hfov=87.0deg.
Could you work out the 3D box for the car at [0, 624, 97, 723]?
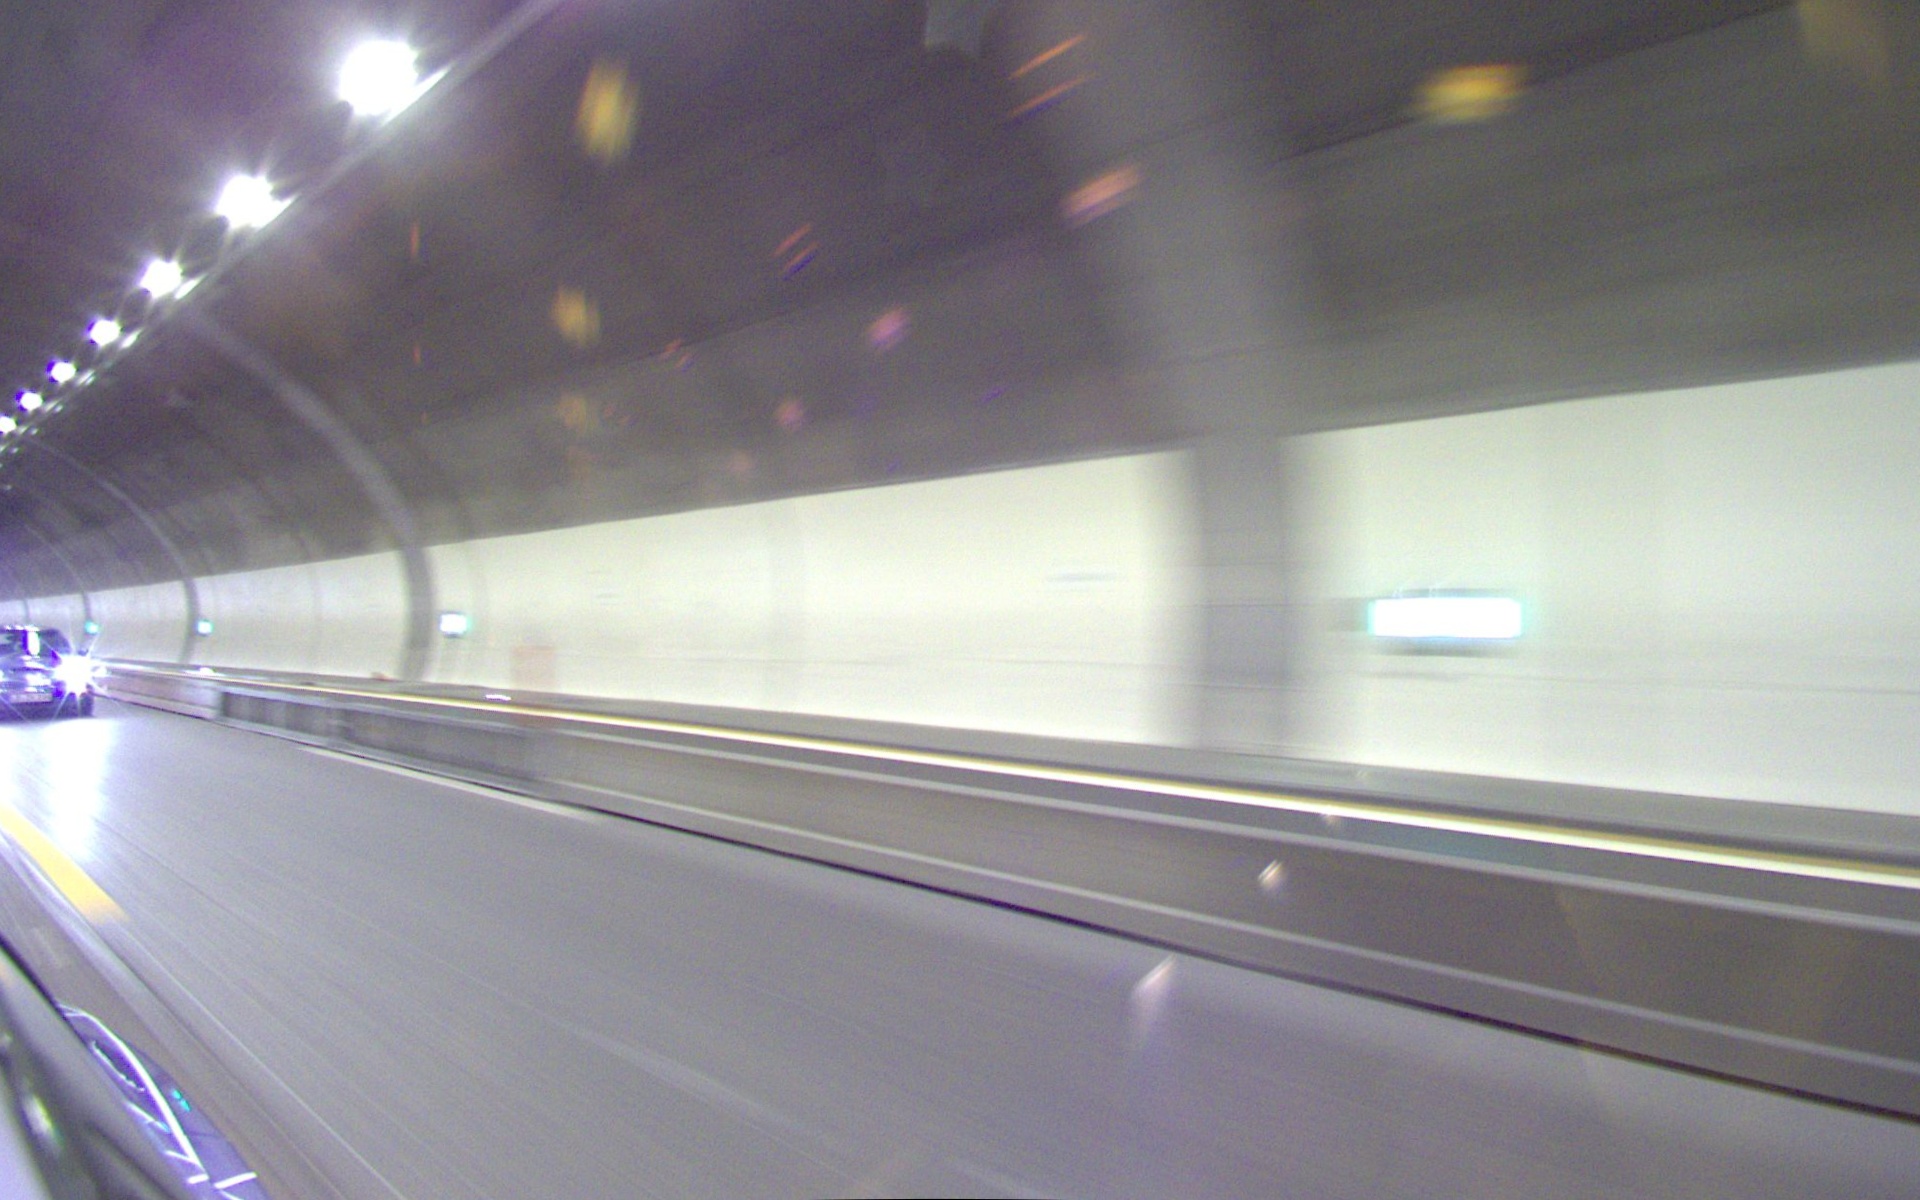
[{"bbox_3d":[-15.115,1.104,16.053,3.655,1.414,1.635,-1,-1,41],"label":"car"}]
